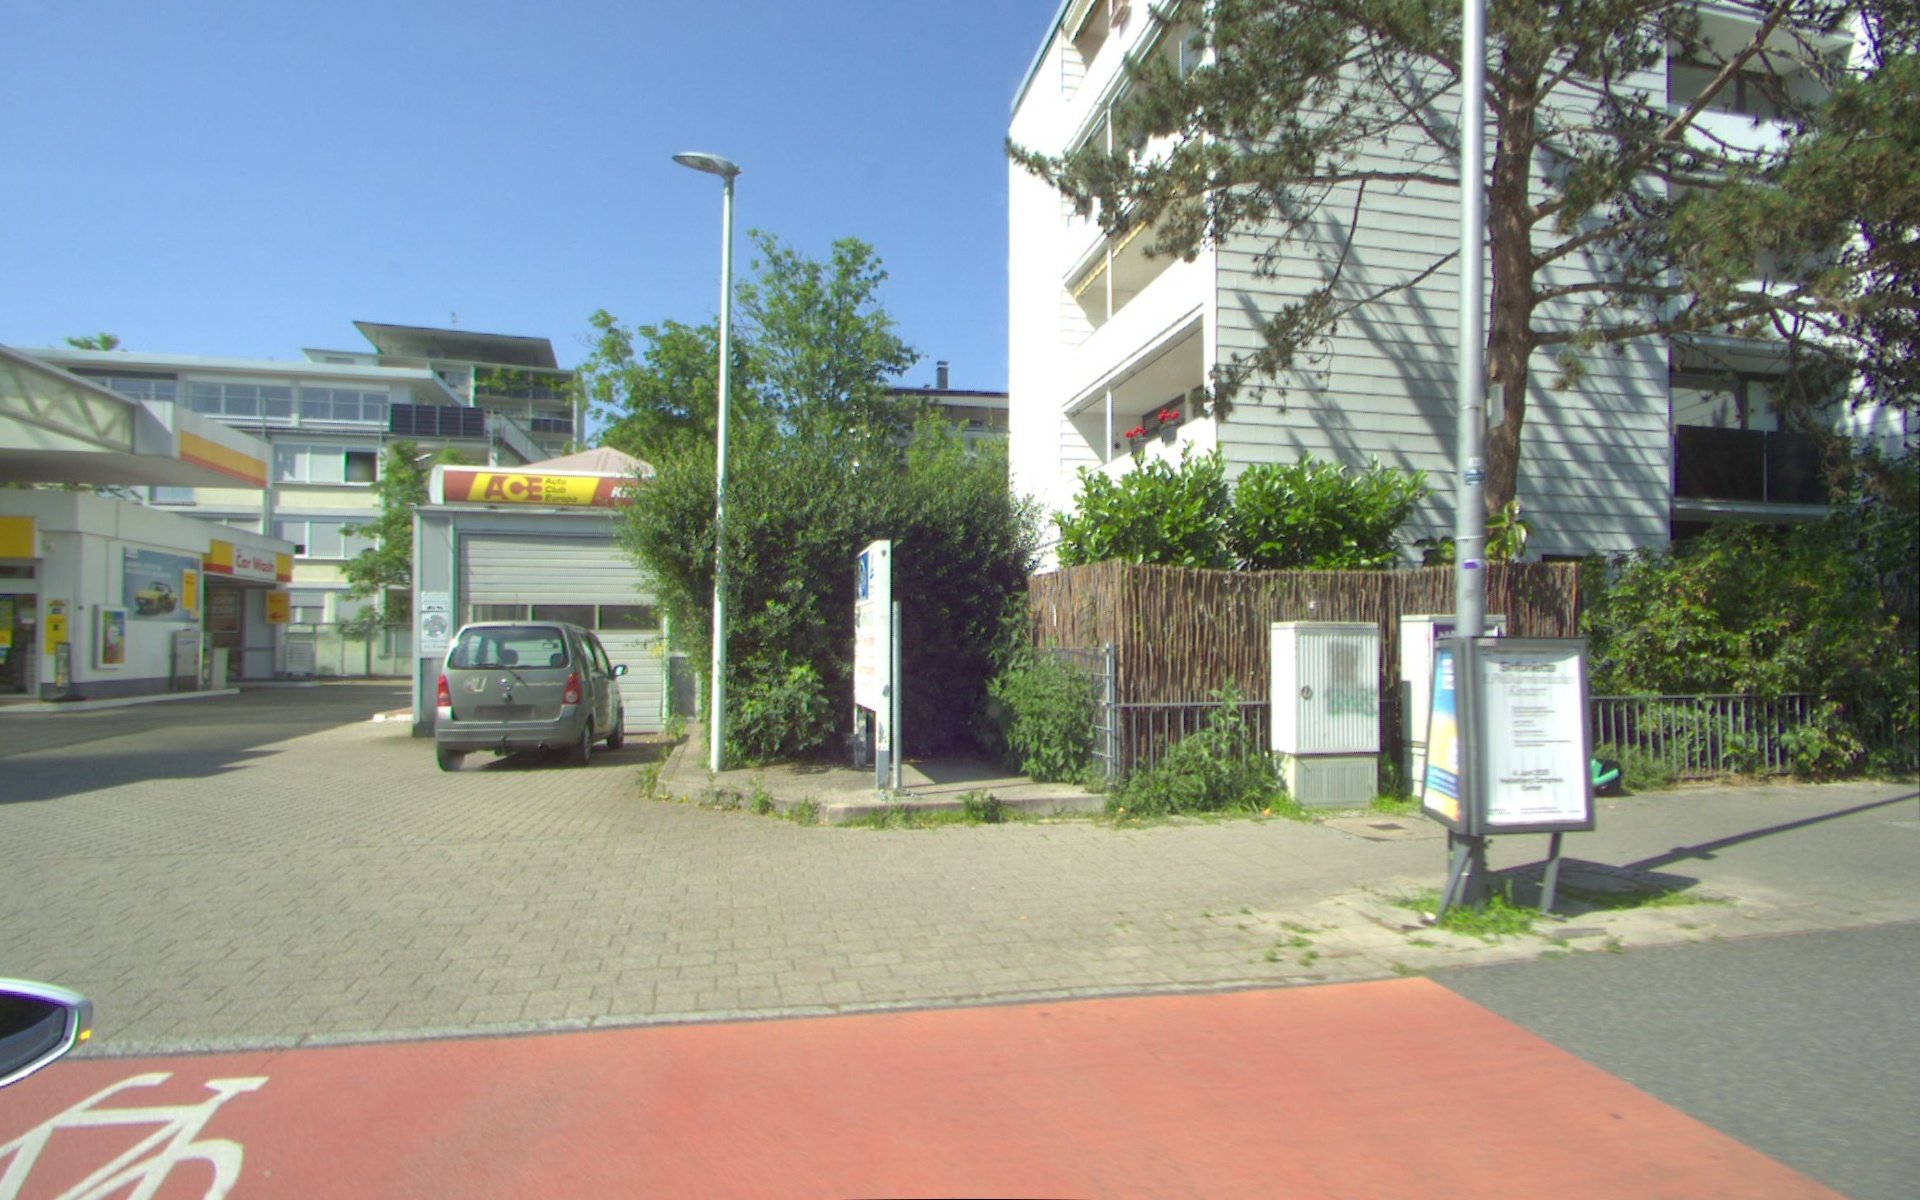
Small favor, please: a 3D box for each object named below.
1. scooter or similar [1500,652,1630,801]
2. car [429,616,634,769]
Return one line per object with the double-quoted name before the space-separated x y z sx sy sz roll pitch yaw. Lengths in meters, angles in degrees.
"scooter or similar" 4.905 1.015 8.127 0.939 1.181 0.231 0 -2 -6
"car" -5.176 1.076 12.597 1.560 1.616 3.833 1 -3 -11
